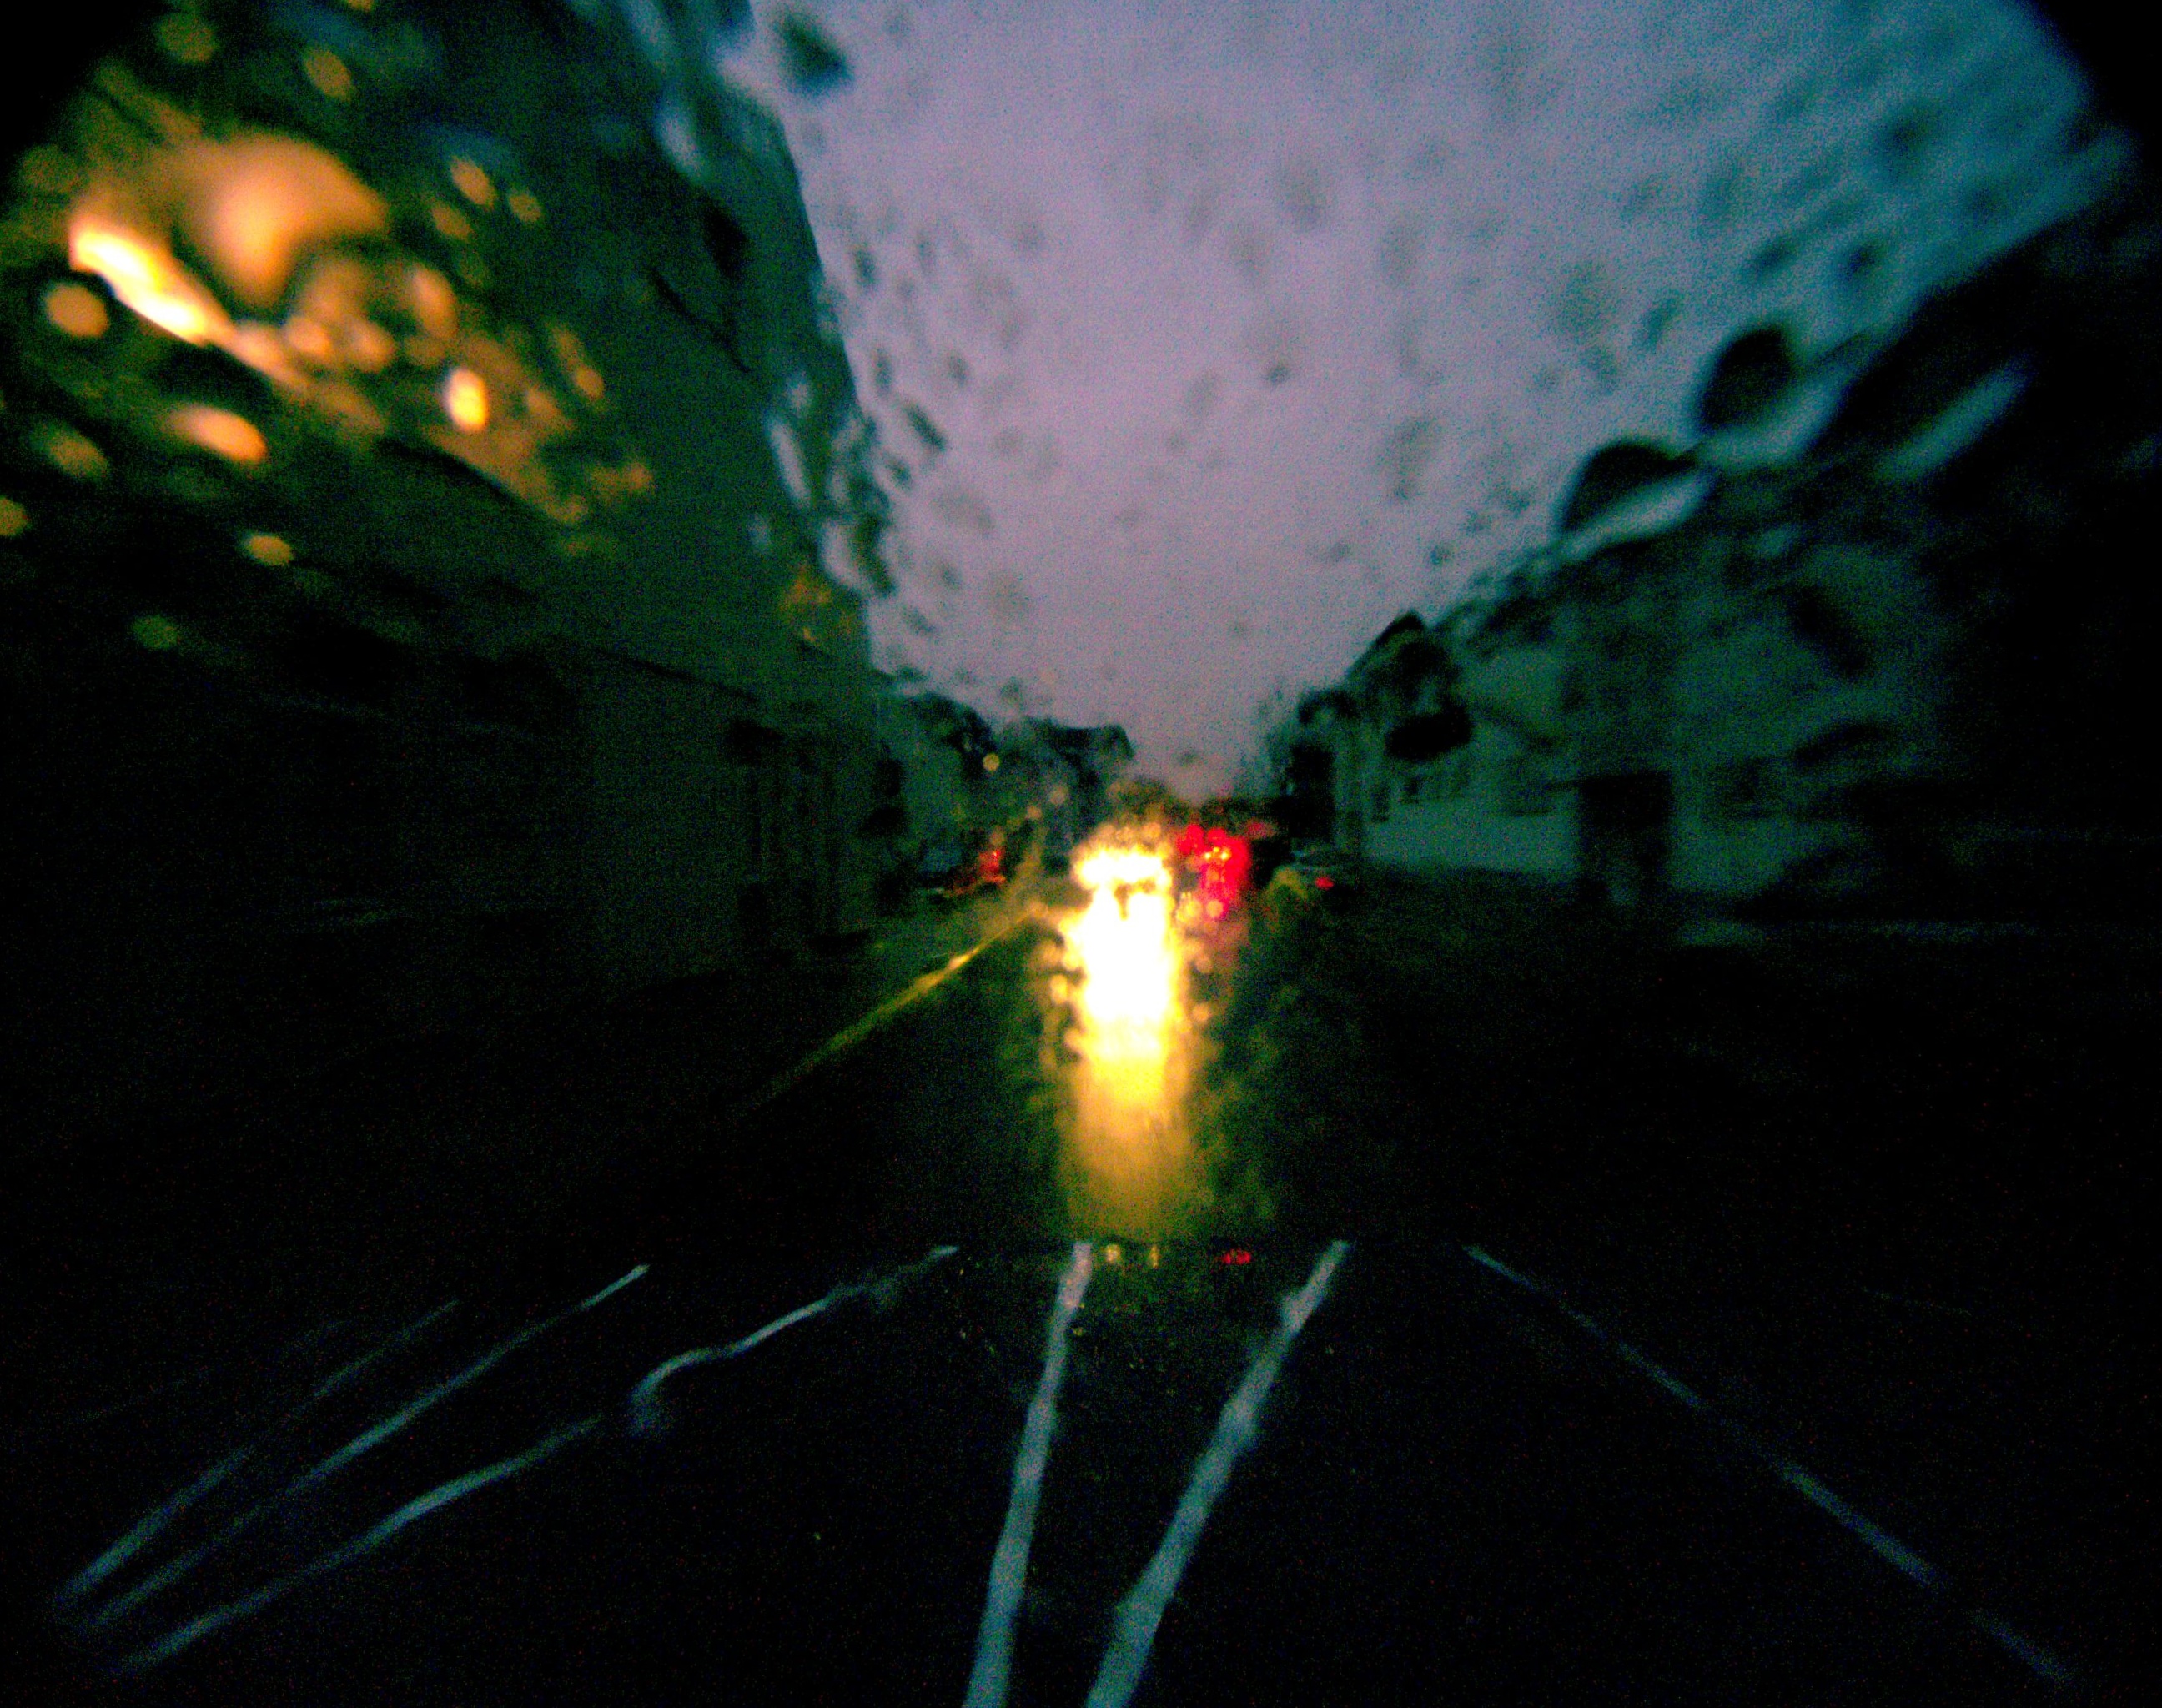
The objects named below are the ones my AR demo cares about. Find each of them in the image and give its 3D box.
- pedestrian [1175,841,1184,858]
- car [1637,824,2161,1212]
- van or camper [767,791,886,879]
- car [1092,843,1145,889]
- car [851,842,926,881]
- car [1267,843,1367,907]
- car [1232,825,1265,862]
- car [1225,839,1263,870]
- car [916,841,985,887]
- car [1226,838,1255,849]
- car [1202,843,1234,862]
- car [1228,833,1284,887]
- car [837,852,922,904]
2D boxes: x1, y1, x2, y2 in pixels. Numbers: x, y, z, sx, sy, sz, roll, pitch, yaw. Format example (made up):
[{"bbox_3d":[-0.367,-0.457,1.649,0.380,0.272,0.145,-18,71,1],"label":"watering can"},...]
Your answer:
[{"bbox_3d":[9.700,-0.452,74.704,0.648,1.652,0.651,3,2,40],"label":"pedestrian"},{"bbox_3d":[5.542,0.677,4.513,1.725,1.605,3.815,-3,1,2],"label":"car"},{"bbox_3d":[-11.279,-0.810,34.491,2.437,3.490,7.124,2,1,4],"label":"van or camper"},{"bbox_3d":[1.447,0.411,29.365,1.878,1.622,4.000,-1,1,3],"label":"car"},{"bbox_3d":[-8.426,0.279,33.644,1.784,1.533,4.245,2,1,6],"label":"car"},{"bbox_3d":[6.304,0.496,20.795,1.798,1.448,4.396,-3,1,7],"label":"car"},{"bbox_3d":[13.001,-0.789,58.758,2.044,2.644,4.215,-3,0,17],"label":"car"},{"bbox_3d":[9.890,-0.013,45.825,1.937,1.660,4.345,-3,0,15],"label":"car"},{"bbox_3d":[-5.518,0.383,32.673,1.784,1.812,4.245,0,1,6],"label":"car"},{"bbox_3d":[24.572,-1.598,117.202,3.988,1.637,1.865,2,1,32],"label":"car"},{"bbox_3d":[11.531,-0.146,63.827,1.995,1.491,4.005,-1,1,20],"label":"car"},{"bbox_3d":[6.874,0.210,30.234,1.883,1.889,4.837,-3,0,10],"label":"car"},{"bbox_3d":[-5.978,0.683,22.971,1.786,1.398,3.753,1,-1,-4],"label":"car"}]
